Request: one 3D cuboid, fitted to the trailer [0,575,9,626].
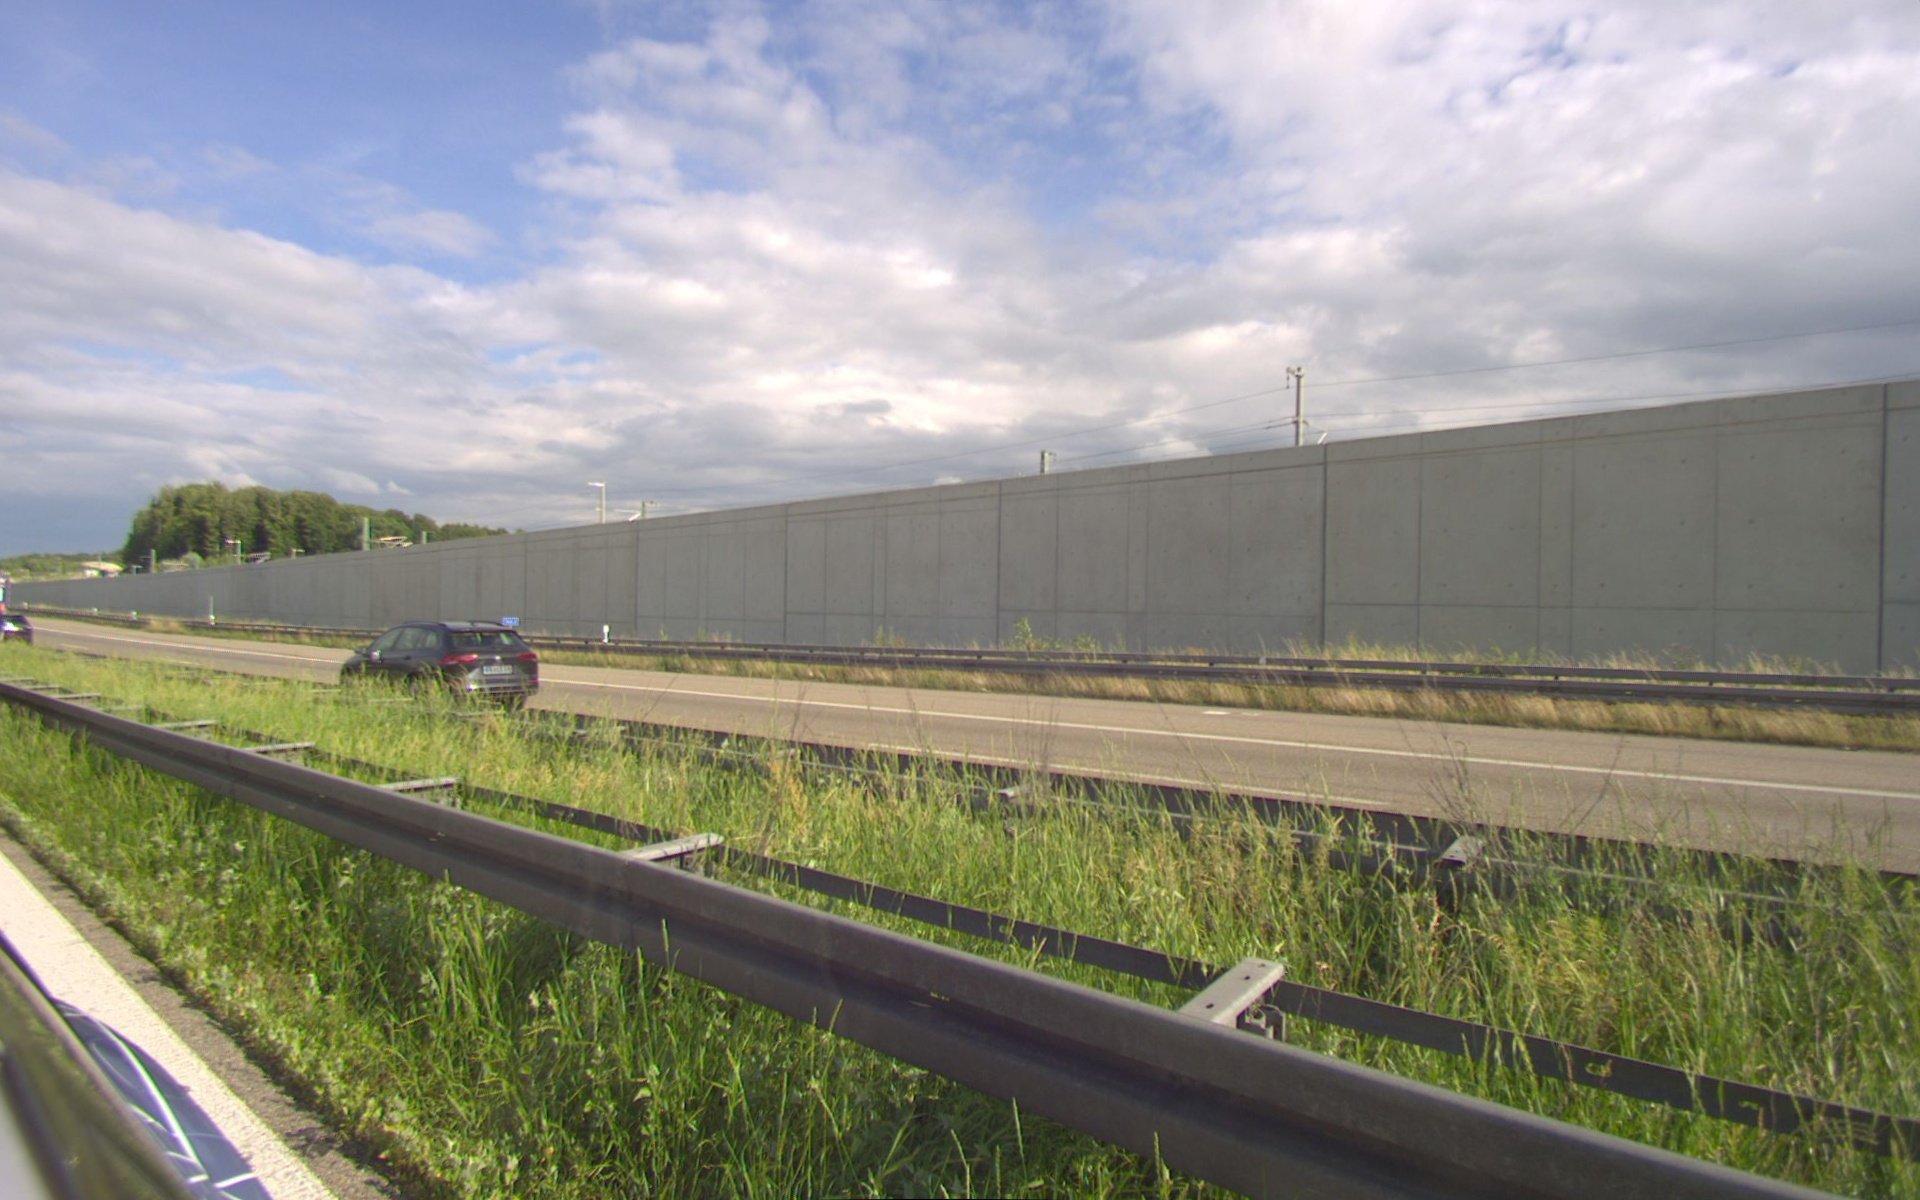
[{"bbox_3d":[-82.100,0.087,84.323,12.385,4.111,2.627,-1,0,40],"label":"trailer"}]

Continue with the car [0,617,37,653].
[{"bbox_3d":[-43.194,1.564,45.649,4.549,1.519,1.824,-1,0,42],"label":"car"}]

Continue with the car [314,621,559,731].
[{"bbox_3d":[-8.689,1.138,16.670,4.393,1.497,1.974,-1,0,39],"label":"car"}]
